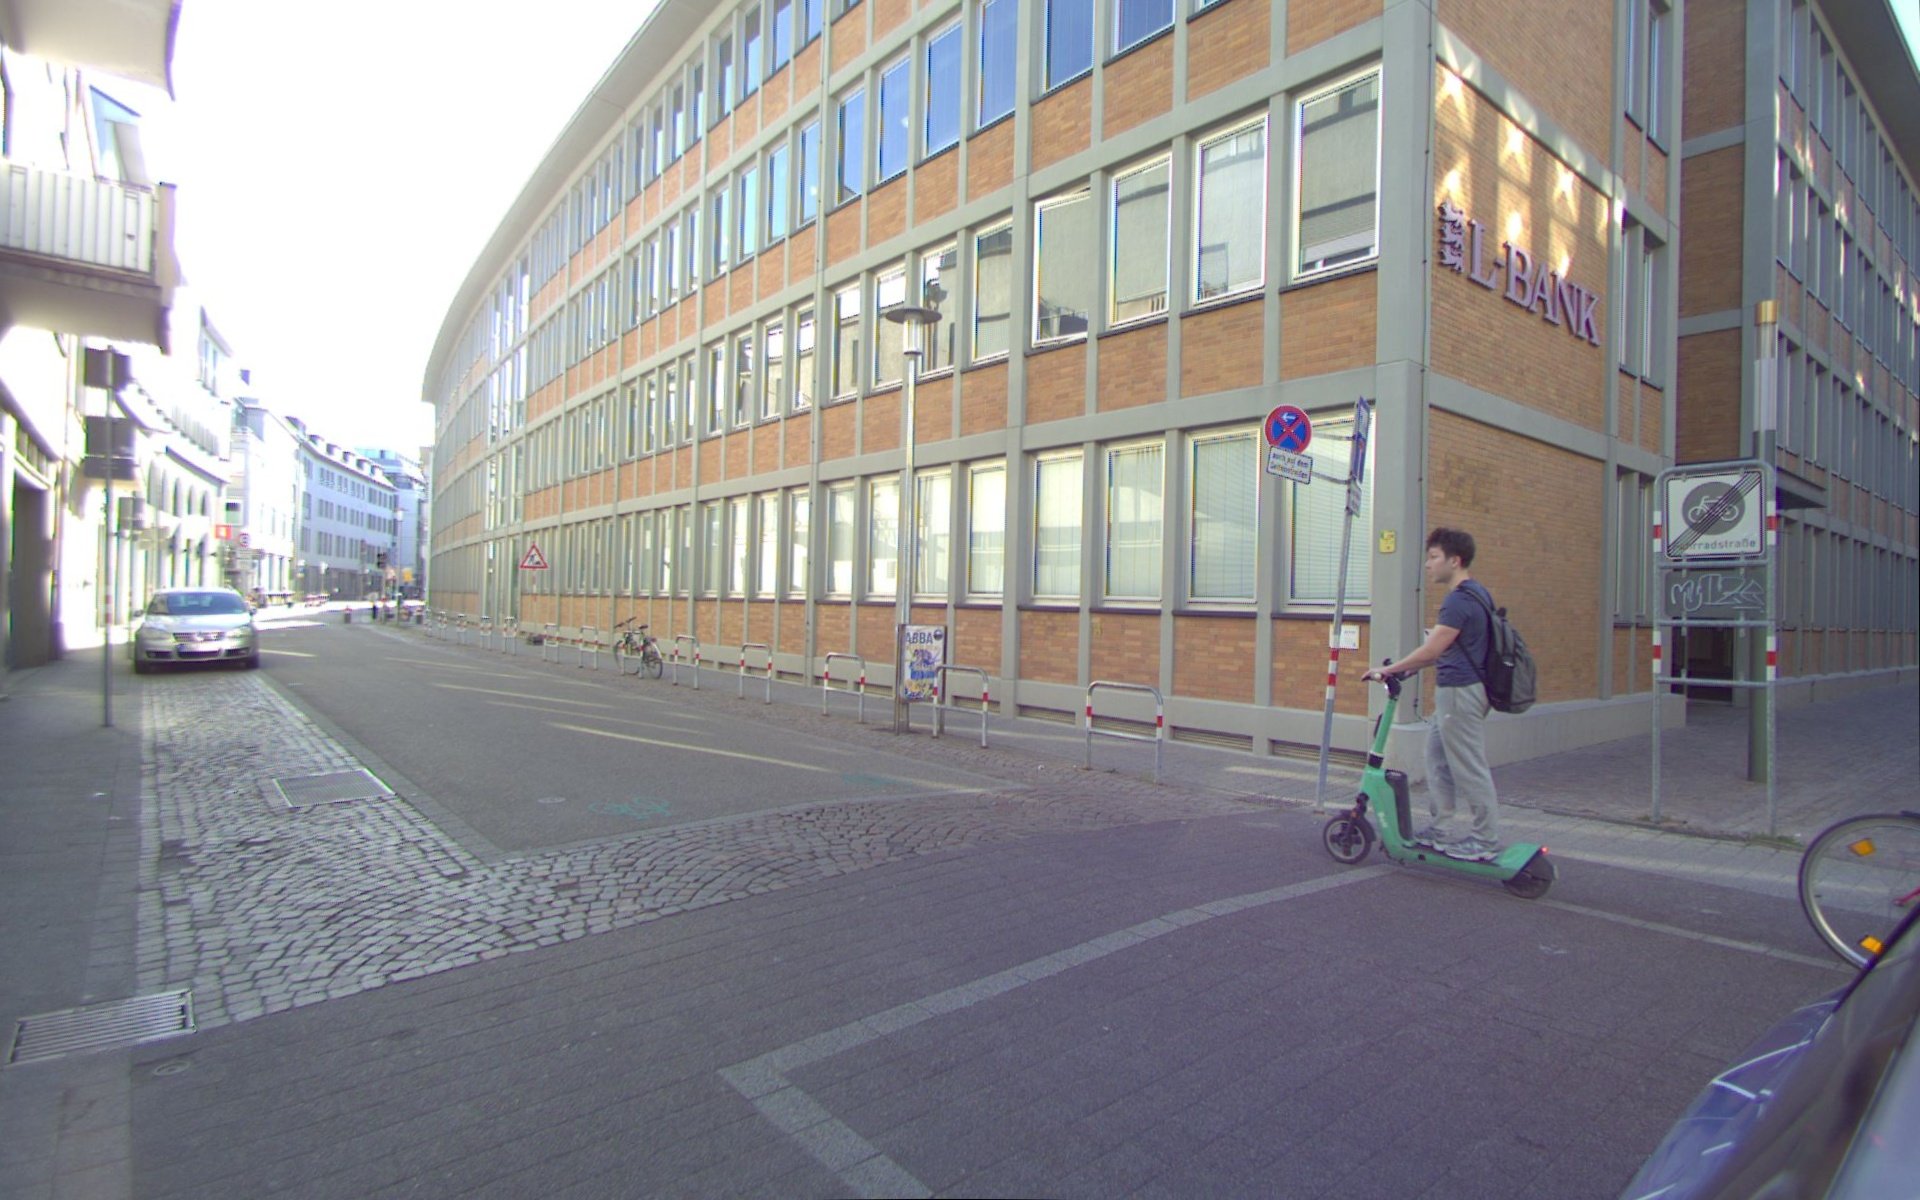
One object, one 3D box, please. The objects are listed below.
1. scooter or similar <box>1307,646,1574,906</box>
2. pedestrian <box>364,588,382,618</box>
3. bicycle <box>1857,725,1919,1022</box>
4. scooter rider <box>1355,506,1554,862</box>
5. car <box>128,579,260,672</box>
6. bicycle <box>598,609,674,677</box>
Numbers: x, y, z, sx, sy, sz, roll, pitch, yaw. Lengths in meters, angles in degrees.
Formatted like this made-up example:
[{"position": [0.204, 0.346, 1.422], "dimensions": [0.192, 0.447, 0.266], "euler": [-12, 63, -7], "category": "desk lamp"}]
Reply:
[{"position": [2.605, 0.898, 5.597], "dimensions": [0.331, 1.201, 1.279], "euler": [4, -1, -37], "category": "scooter or similar"}, {"position": [-28.513, 0.139, 49.155], "dimensions": [0.647, 1.459, 0.595], "euler": [1, 0, -37], "category": "pedestrian"}, {"position": [4.272, 1.061, 3.410], "dimensions": [0.580, 1.065, 1.798], "euler": [4, -2, -39], "category": "bicycle"}, {"position": [2.652, 0.407, 5.448], "dimensions": [0.637, 1.748, 0.702], "euler": [2, 0, -37], "category": "scooter rider"}, {"position": [-13.900, 0.371, 18.365], "dimensions": [1.739, 1.488, 3.810], "euler": [-1, 2, -38], "category": "car"}, {"position": [-5.927, 0.759, 18.433], "dimensions": [0.627, 1.130, 1.928], "euler": [1, 0, -40], "category": "bicycle"}]
